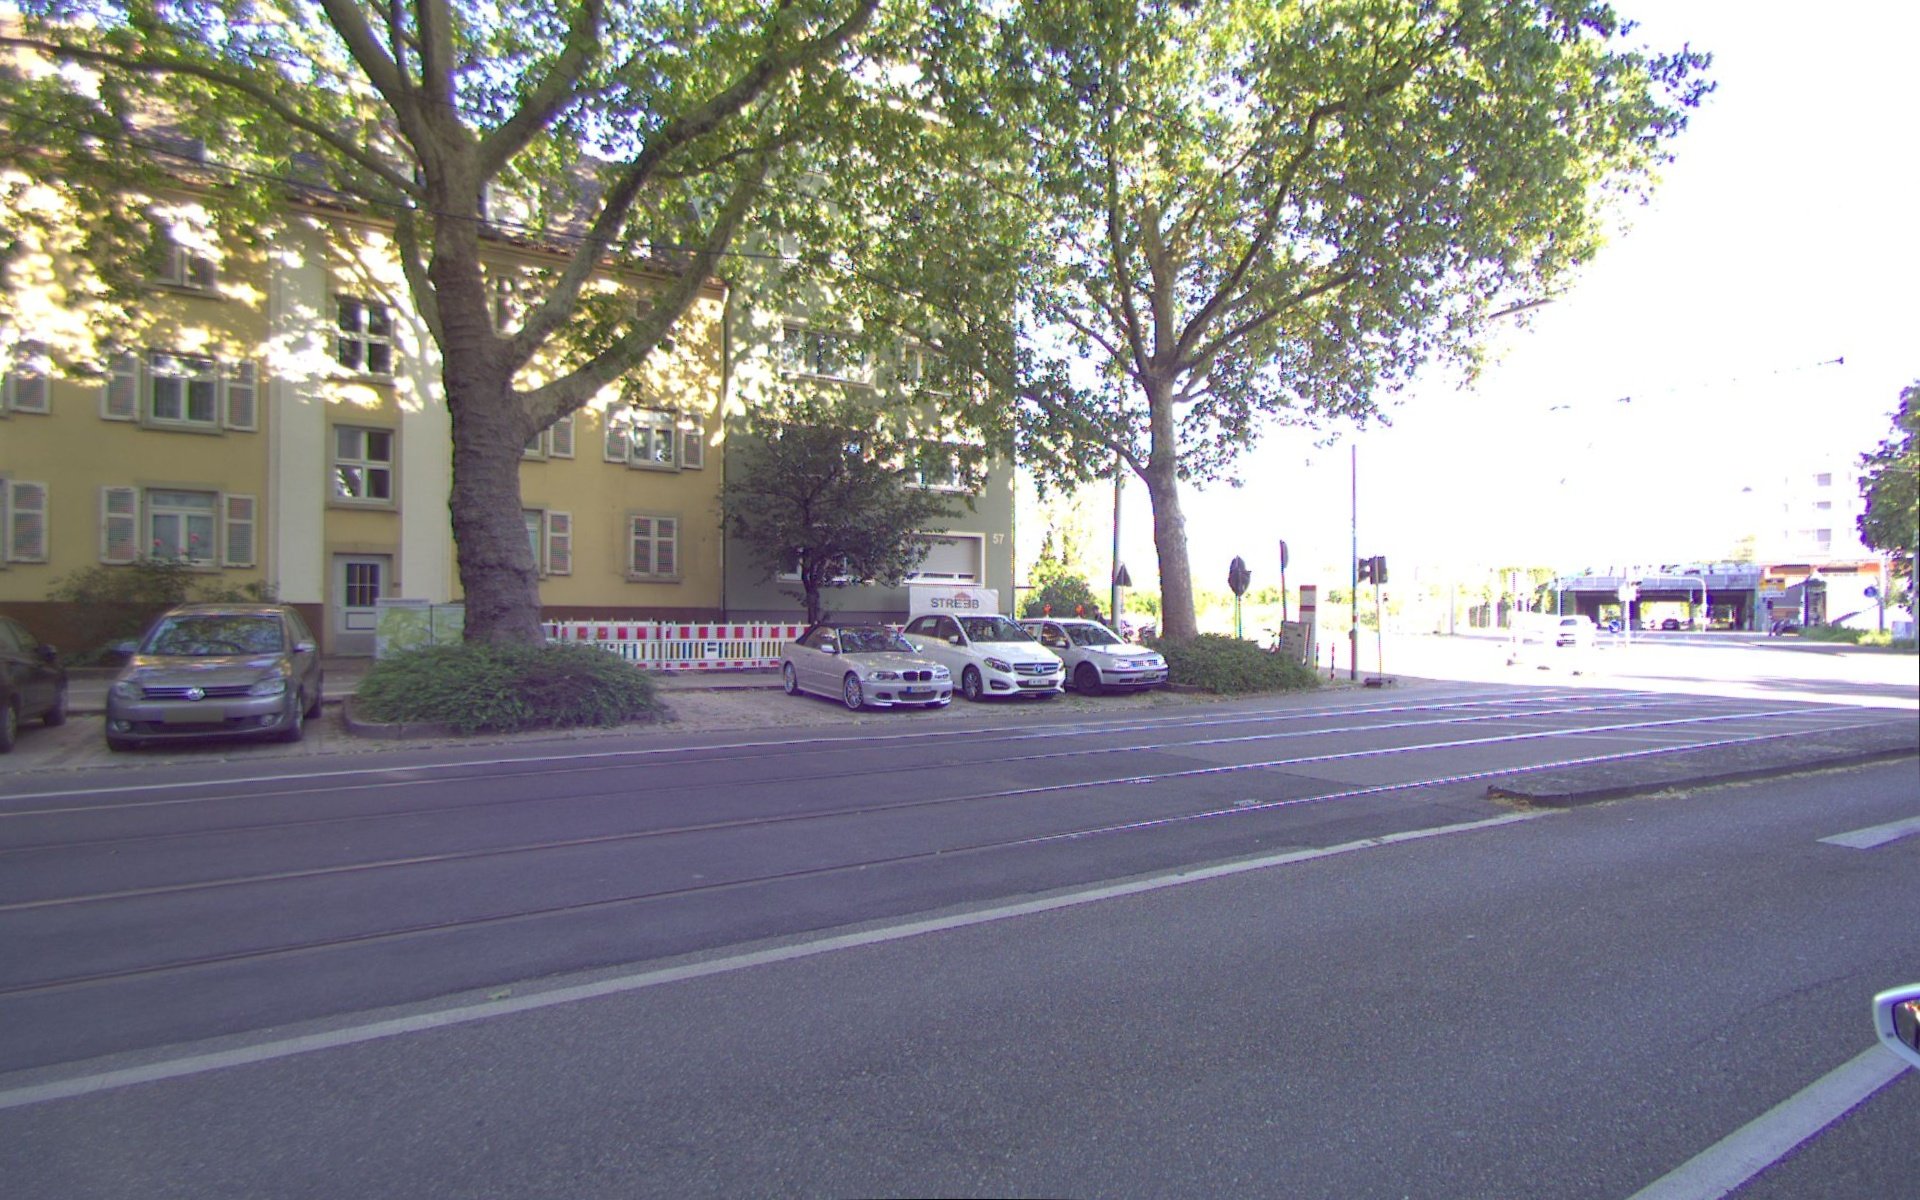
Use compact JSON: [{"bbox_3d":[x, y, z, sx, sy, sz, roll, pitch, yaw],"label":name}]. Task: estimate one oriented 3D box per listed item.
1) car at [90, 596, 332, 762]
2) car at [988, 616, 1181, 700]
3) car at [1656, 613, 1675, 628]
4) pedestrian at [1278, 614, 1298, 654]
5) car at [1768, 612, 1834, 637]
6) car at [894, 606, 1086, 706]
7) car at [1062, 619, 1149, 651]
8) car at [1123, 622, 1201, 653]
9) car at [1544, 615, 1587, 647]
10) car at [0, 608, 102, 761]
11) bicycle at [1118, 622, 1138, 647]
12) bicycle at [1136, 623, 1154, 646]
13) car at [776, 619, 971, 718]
[{"bbox_3d":[-8.938,0.814,12.353,1.822,1.641,4.052,2,0,-29],"label":"car"},{"bbox_3d":[2.445,1.118,20.580,1.688,1.436,3.960,2,0,-36],"label":"car"},{"bbox_3d":[100.961,2.972,143.776,1.966,2.040,3.989,2,0,34],"label":"car"},{"bbox_3d":[13.278,1.372,40.655,0.591,1.617,0.682,2,0,35],"label":"pedestrian"},{"bbox_3d":[73.289,2.091,87.616,1.967,2.040,3.987,2,0,-15],"label":"car"},{"bbox_3d":[0.444,0.986,19.198,1.822,1.633,4.052,2,0,-29],"label":"car"},{"bbox_3d":[8.040,1.925,55.598,4.236,1.551,2.089,2,0,36],"label":"car"},{"bbox_3d":[11.593,2.116,57.763,3.933,1.439,1.887,0,5,35],"label":"car"},{"bbox_3d":[33.574,1.688,55.628,1.966,1.653,4.619,0,-1,32],"label":"car"},{"bbox_3d":[-11.374,0.864,11.442,1.673,1.466,3.834,2,0,-29],"label":"car"},{"bbox_3d":[5.427,1.105,32.384,0.351,0.769,1.781,0,-1,18],"label":"bicycle"},{"bbox_3d":[6.350,1.182,34.539,0.351,0.769,1.781,0,-1,1],"label":"bicycle"},{"bbox_3d":[-1.620,1.088,17.307,1.822,1.387,4.052,2,0,-29],"label":"car"}]
